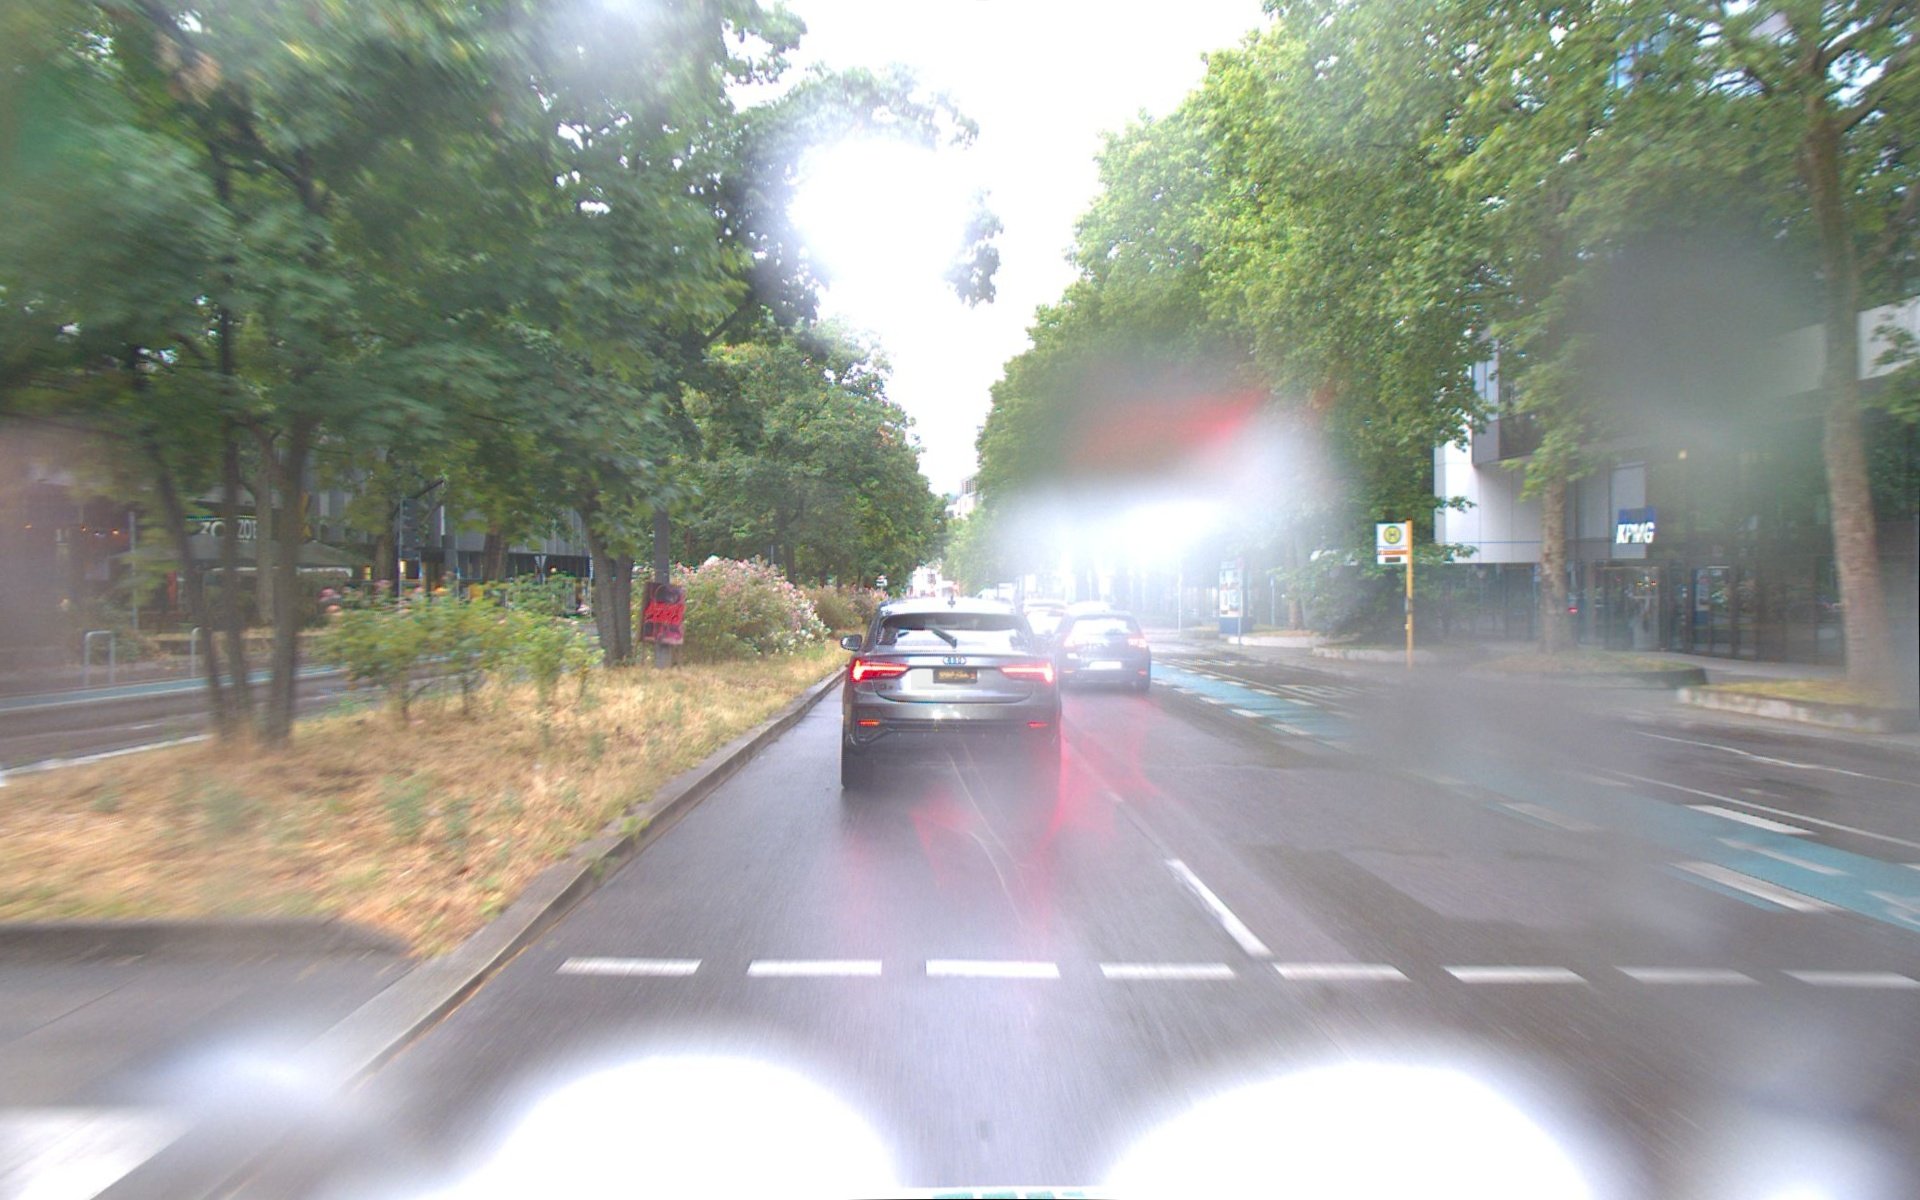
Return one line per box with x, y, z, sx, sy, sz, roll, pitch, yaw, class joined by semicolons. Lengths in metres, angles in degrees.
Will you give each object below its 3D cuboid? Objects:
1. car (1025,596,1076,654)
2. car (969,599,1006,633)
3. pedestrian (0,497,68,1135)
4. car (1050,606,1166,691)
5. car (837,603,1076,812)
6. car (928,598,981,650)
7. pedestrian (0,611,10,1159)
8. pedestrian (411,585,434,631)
2.807;0.761;51.713;1.404;1.714;2.978;-1;0;-1;car
1.484;0.878;91.558;1.953;1.780;3.999;0;0;-1;car
-2.870;0.585;4.629;0.563;1.728;0.403;0;0;-13;pedestrian
2.730;0.863;31.268;1.729;1.437;3.999;-1;0;-1;car
-0.008;0.824;14.901;1.825;1.559;4.527;0;0;0;car
-0.208;0.763;54.624;1.687;1.605;3.961;0;0;-1;car
-2.757;0.769;4.313;0.416;1.476;0.383;0;0;-19;pedestrian
-24.293;0.362;74.759;0.862;2.049;0.635;0;0;-2;pedestrian
